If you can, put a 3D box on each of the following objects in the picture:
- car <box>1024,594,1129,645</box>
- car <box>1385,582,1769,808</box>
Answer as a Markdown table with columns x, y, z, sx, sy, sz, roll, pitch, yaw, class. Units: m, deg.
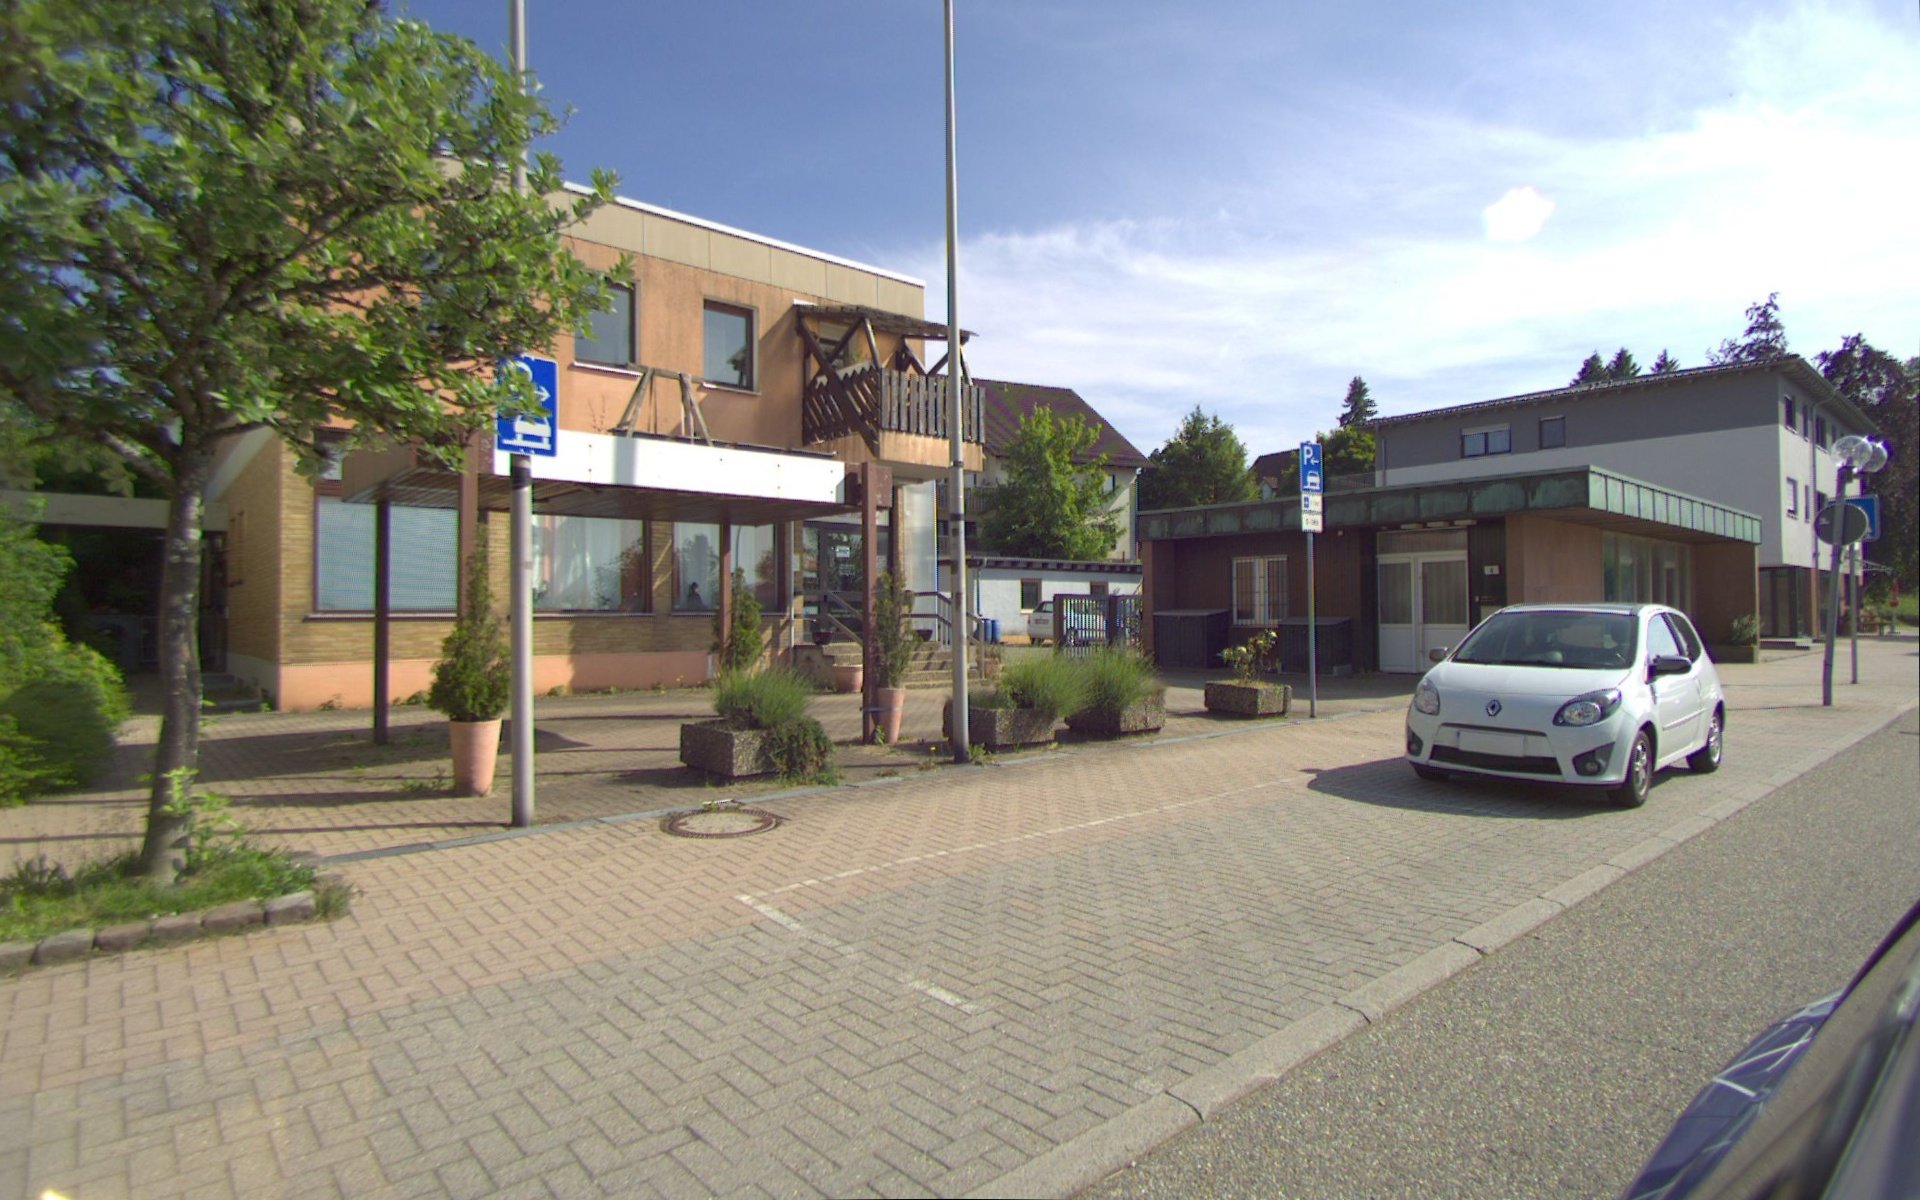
| x | y | z | sx | sy | sz | roll | pitch | yaw | class |
| --- | --- | --- | --- | --- | --- | --- | --- | --- | --- |
| 3.770 | 0.600 | 32.574 | 3.255 | 1.502 | 1.491 | 0 | 2 | -40 | car |
| 5.257 | 0.616 | 8.458 | 3.571 | 1.441 | 1.763 | 0 | 1 | -42 | car |
